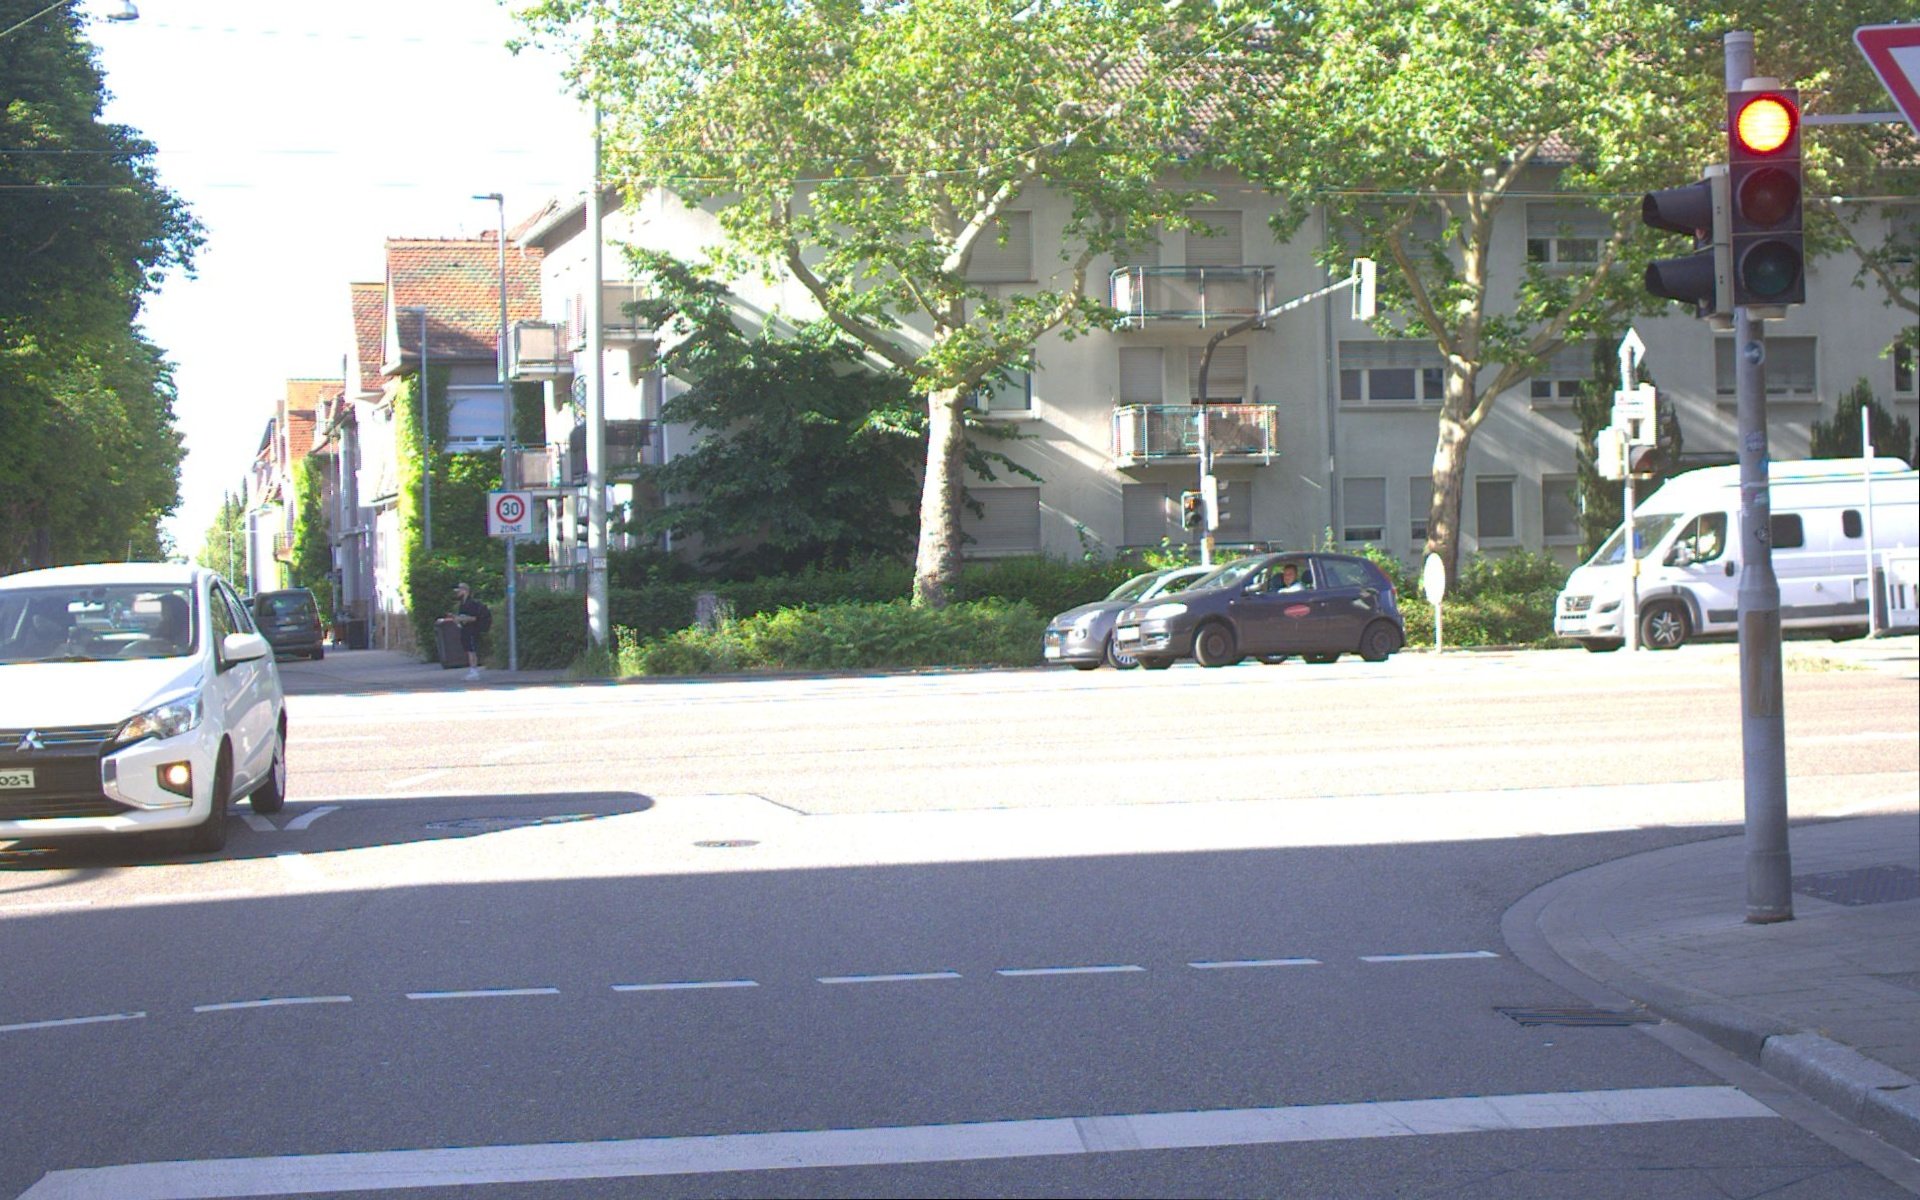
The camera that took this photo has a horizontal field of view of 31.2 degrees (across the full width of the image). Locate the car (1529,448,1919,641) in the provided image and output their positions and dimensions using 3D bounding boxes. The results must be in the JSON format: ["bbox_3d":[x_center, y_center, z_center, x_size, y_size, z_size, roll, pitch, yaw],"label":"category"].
[{"bbox_3d":[11.405,-0.832,49.481,6.039,2.559,2.001,-2,1,-18],"label":"car"}]

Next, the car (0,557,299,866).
[{"bbox_3d":[-4.646,0.532,18.666,1.624,1.467,3.800,-2,1,-5],"label":"car"}]

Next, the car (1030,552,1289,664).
[{"bbox_3d":[2.895,0.103,49.814,3.379,1.482,1.525,-2,1,-22],"label":"car"}]

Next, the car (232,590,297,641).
[{"bbox_3d":[-25.388,0.567,125.403,1.993,1.826,4.001,-1,0,-16],"label":"car"}]

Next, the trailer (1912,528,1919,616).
[{"bbox_3d":[15.637,-0.457,50.840,2.739,1.306,1.271,-2,1,-19],"label":"trailer"}]

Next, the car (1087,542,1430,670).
[{"bbox_3d":[3.786,0.061,43.497,3.986,1.446,1.659,-2,1,-25],"label":"car"}]

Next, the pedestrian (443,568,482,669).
[{"bbox_3d":[-8.719,0.323,60.197,0.633,1.744,0.659,-1,0,-11],"label":"pedestrian"}]

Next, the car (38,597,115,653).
[{"bbox_3d":[-24.603,0.680,95.690,1.993,1.441,4.001,-2,1,-15],"label":"car"}]

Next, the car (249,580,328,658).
[{"bbox_3d":[-18.491,0.502,94.832,1.993,2.007,4.001,-2,1,-10],"label":"car"}]
